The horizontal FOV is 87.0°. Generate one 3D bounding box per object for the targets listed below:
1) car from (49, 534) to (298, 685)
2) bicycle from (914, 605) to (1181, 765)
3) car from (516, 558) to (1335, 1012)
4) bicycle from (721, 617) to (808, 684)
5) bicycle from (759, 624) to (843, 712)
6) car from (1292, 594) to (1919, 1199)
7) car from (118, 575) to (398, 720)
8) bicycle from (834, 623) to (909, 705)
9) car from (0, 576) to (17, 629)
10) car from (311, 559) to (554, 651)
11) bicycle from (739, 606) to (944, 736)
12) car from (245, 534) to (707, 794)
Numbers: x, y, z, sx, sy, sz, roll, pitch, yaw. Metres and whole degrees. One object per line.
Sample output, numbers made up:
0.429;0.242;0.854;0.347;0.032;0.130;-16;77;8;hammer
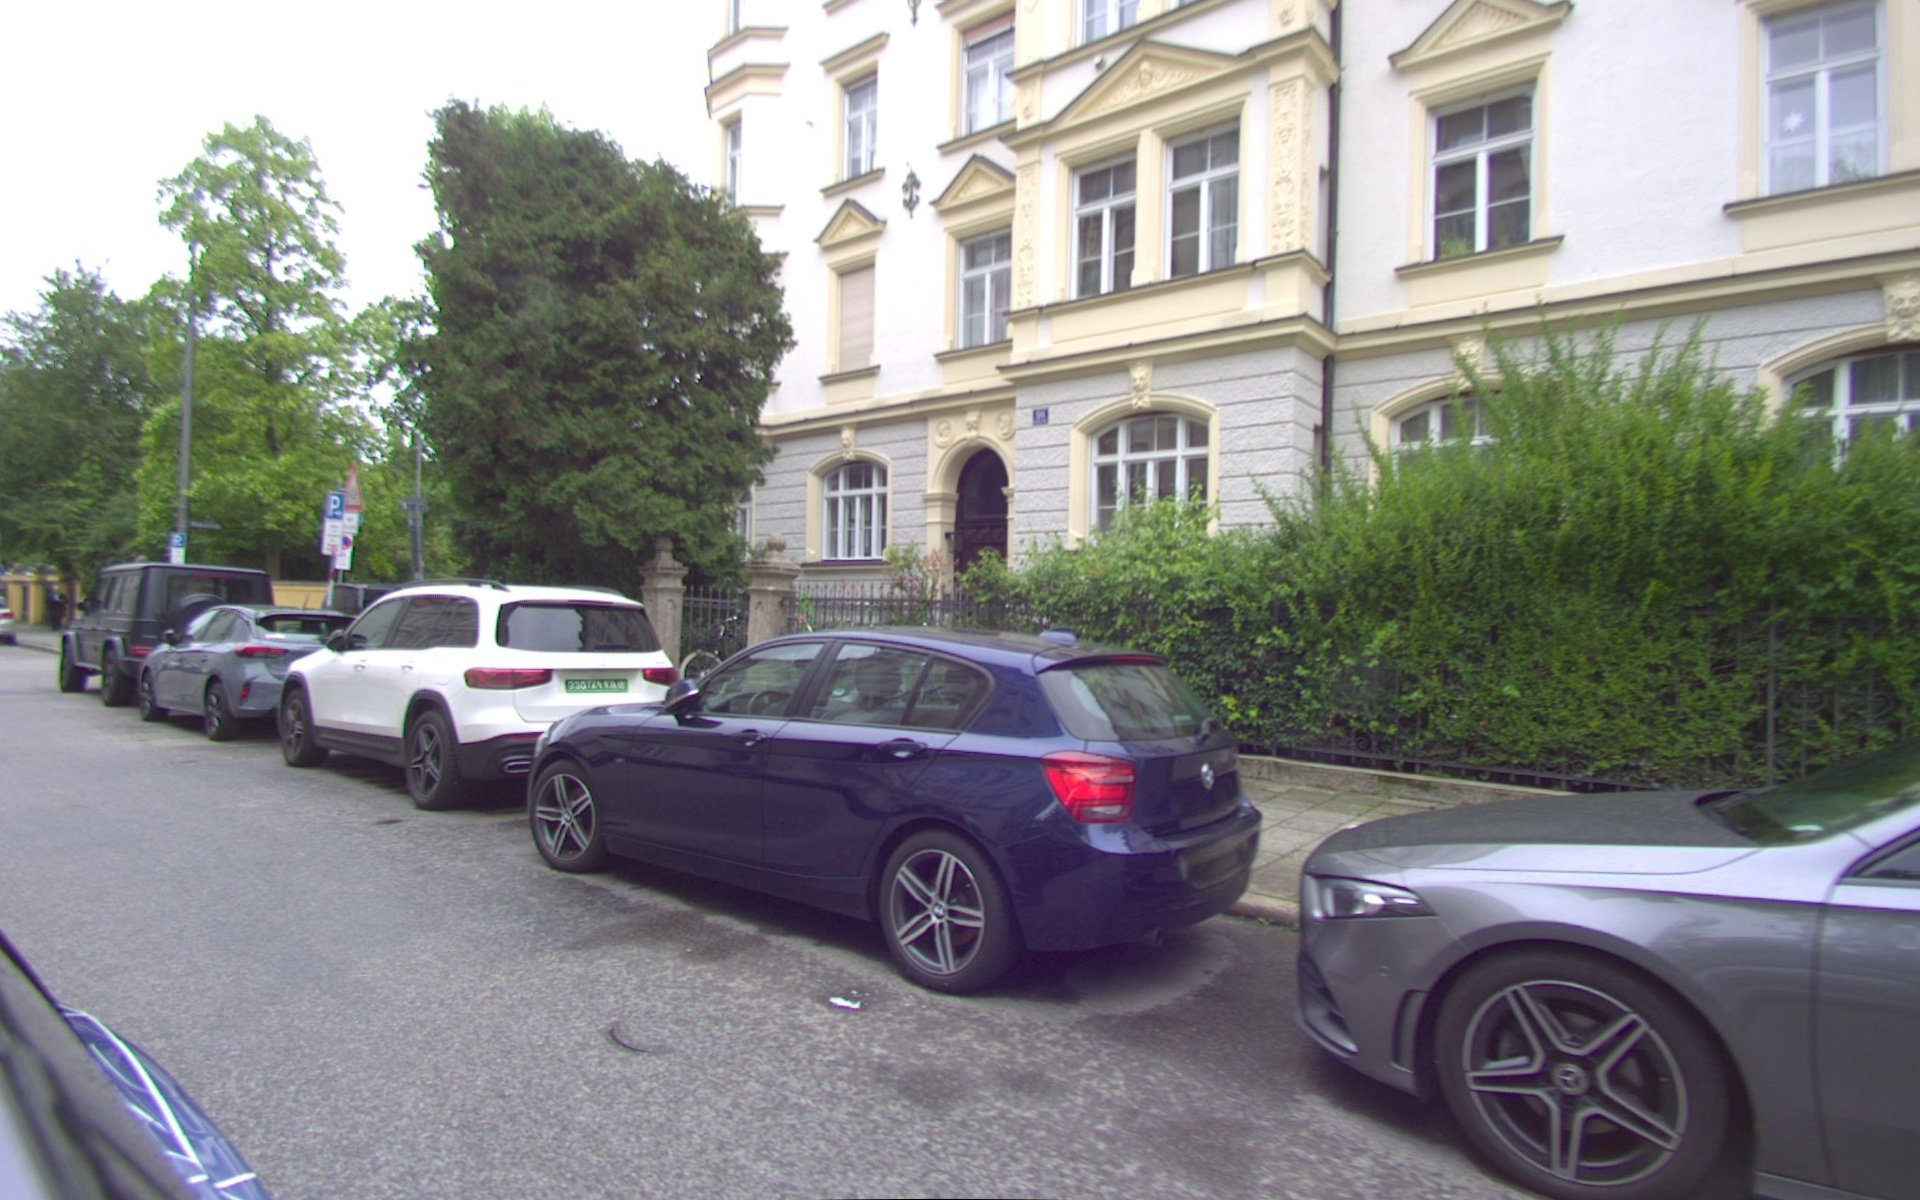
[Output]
-11.730;0.109;14.969;4.813;1.901;1.893;1;-1;40;car
0.749;0.718;9.484;2.529;1.307;0.747;0;-2;41;bicycle
-0.397;0.547;5.194;3.994;1.430;1.752;3;2;38;car
-2.950;0.757;15.396;0.337;0.969;1.459;-1;-3;35;bicycle
-2.121;0.887;13.597;0.393;1.112;1.126;0;0;42;bicycle
3.153;0.706;2.387;4.186;1.375;1.719;0;-2;37;car
-8.361;0.497;11.941;3.915;1.441;1.626;1;-3;39;car
-1.267;0.903;14.646;0.393;1.112;1.126;0;0;42;bicycle
-29.399;0.048;29.862;3.951;1.503;1.684;0;-1;38;car
-11.779;0.115;22.891;2.049;1.871;4.471;0;0;33;car
-1.352;0.717;11.091;2.529;1.269;0.689;0;-2;41;bicycle
-4.272;0.423;8.597;4.481;1.661;1.788;0;-1;39;car
